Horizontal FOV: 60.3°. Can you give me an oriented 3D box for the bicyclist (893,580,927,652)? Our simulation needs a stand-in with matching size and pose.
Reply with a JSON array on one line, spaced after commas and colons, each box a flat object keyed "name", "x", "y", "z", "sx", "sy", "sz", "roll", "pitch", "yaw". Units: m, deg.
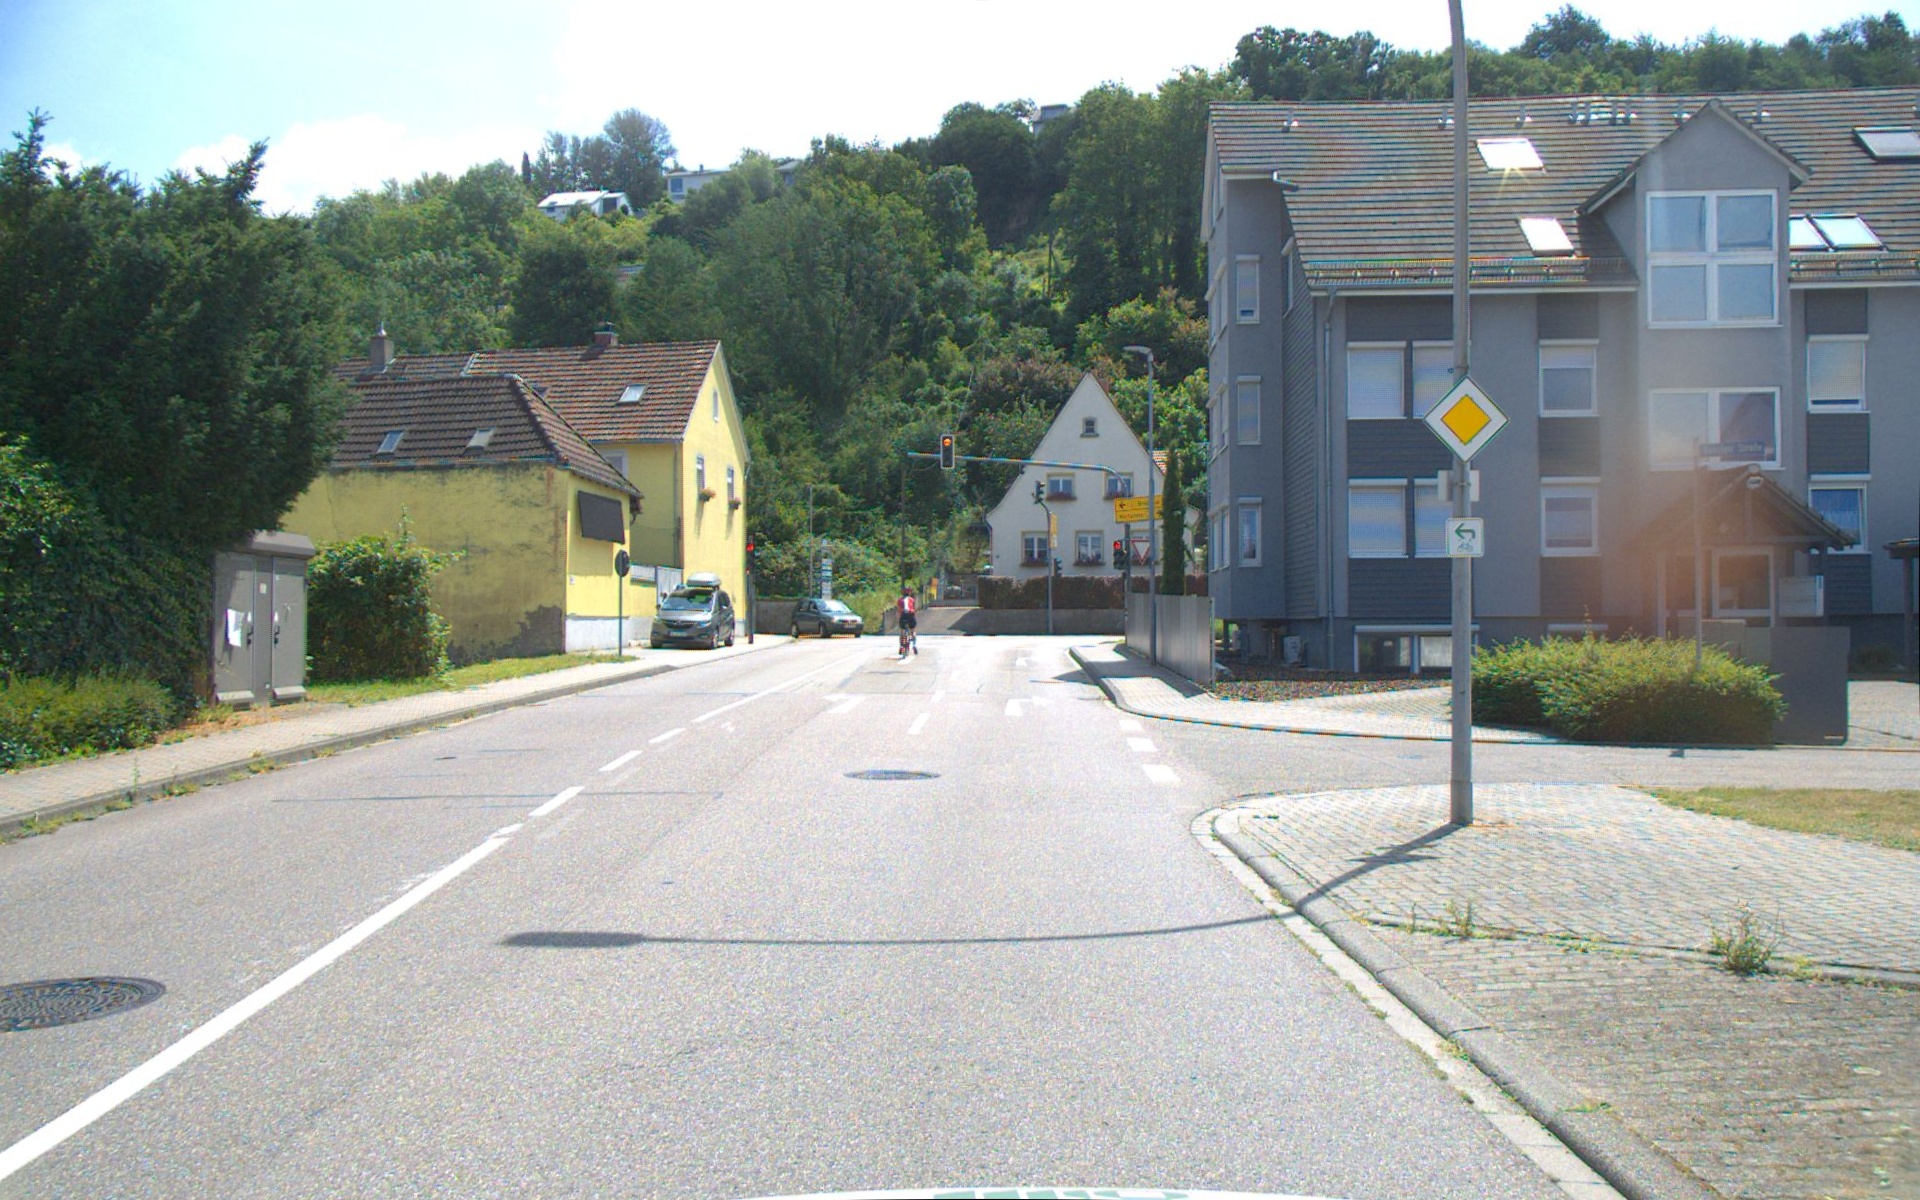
[{"name": "bicyclist", "x": -1.202, "y": 0.379, "z": 39.726, "sx": 0.745, "sy": 1.693, "sz": 0.869, "roll": 1, "pitch": 0, "yaw": 1}]

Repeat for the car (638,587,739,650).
[{"name": "car", "x": -7.647, "y": 0.487, "z": 47.026, "sx": 1.952, "sy": 1.664, "sz": 4.631, "roll": 1, "pitch": 0, "yaw": 2}]

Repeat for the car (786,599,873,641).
[{"name": "car", "x": -4.826, "y": 0.731, "z": 60.834, "sx": 1.760, "sy": 1.458, "sz": 3.835, "roll": -2, "pitch": 0, "yaw": -28}]

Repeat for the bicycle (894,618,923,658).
[{"name": "bicycle", "x": -1.230, "y": 0.902, "z": 39.913, "sx": 0.617, "sy": 0.920, "sz": 1.657, "roll": 1, "pitch": 0, "yaw": 1}]
